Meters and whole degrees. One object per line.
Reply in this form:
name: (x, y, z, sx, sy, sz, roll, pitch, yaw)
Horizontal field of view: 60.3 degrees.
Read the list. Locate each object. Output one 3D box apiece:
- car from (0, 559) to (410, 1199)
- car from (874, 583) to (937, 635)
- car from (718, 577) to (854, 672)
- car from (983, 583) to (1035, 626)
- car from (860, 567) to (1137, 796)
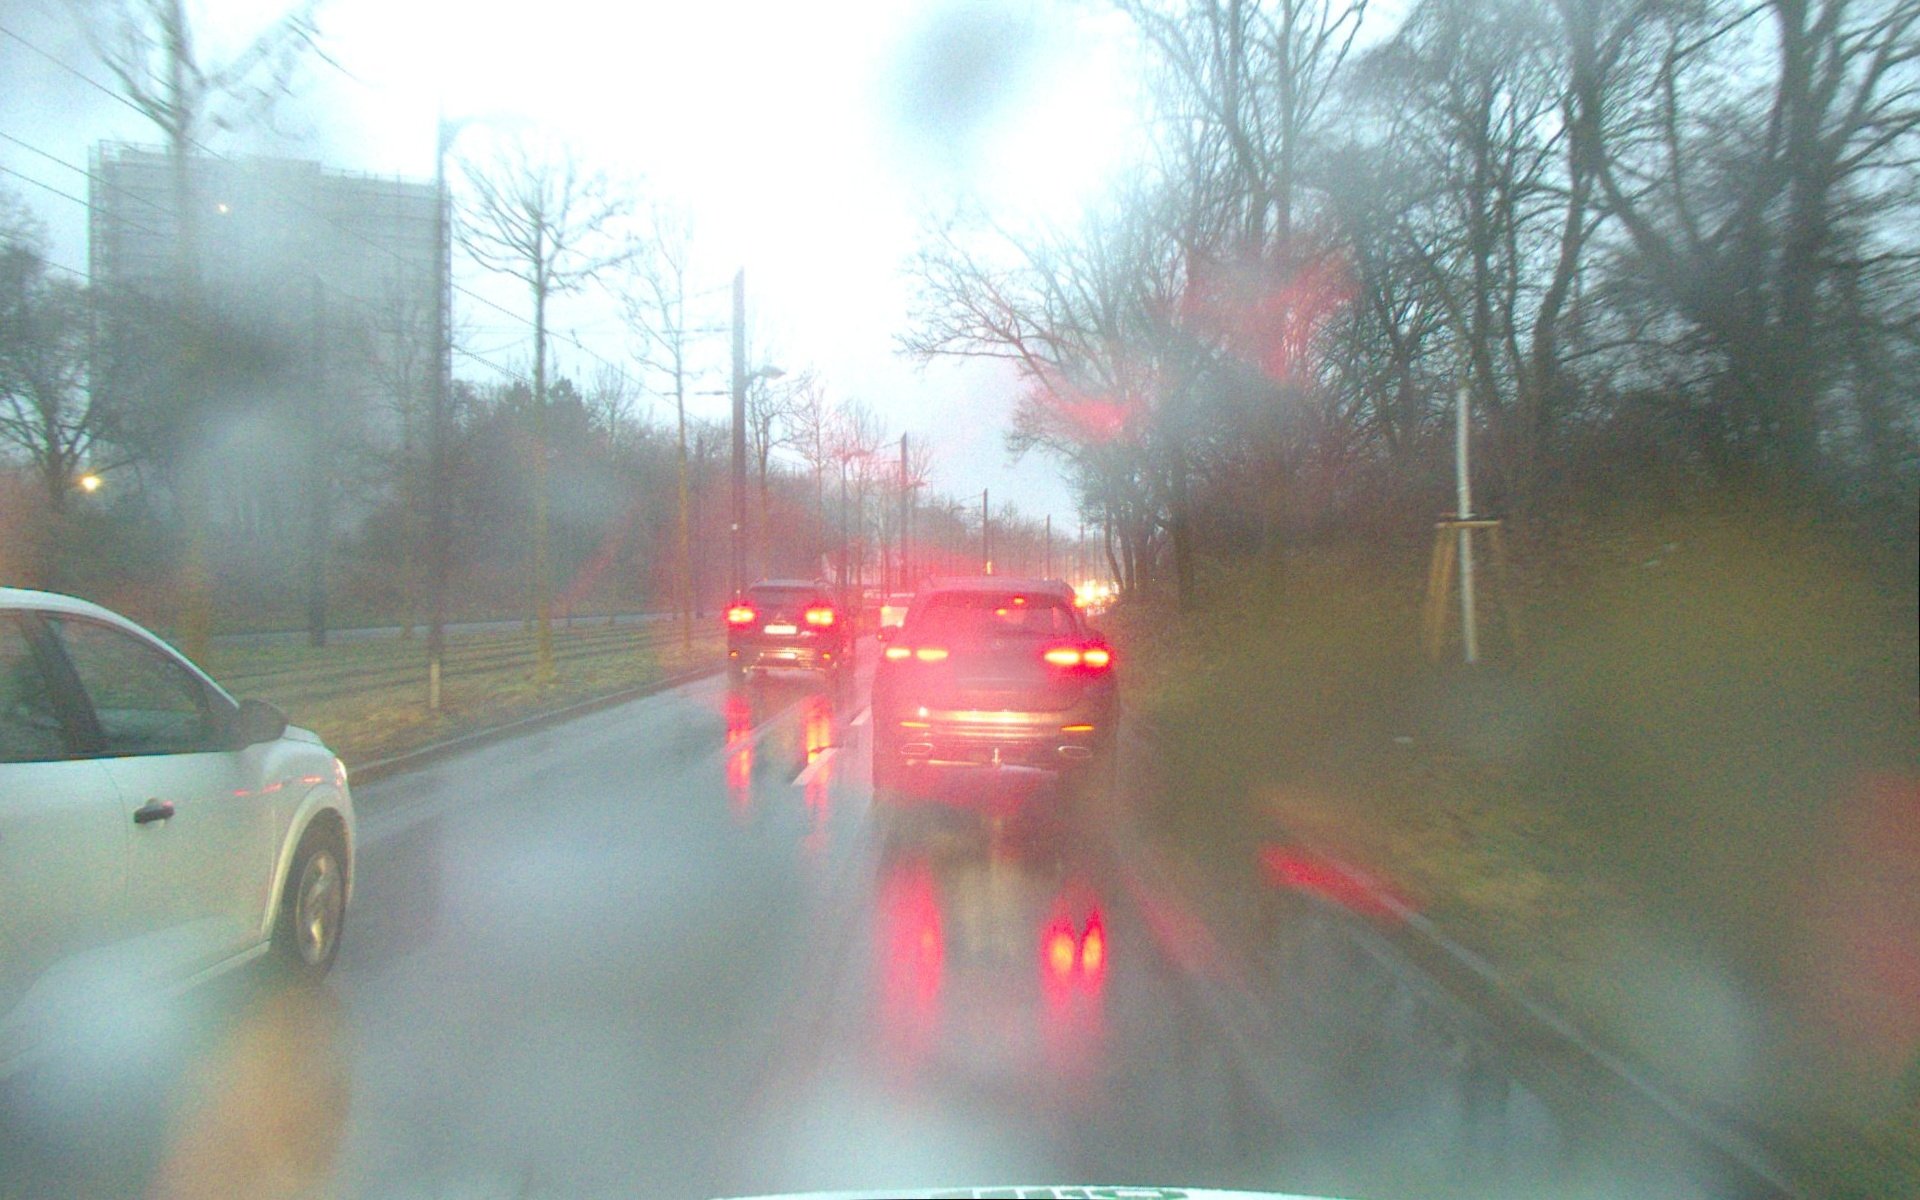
car: (-3.091, 0.672, 4.718, 1.674, 1.551, 4.134, 0, 0, 0)
car: (-1.737, 0.260, 53.657, 1.841, 1.621, 4.001, 0, 1, 1)
car: (-2.869, 0.362, 28.062, 1.841, 1.485, 4.000, 0, 1, 0)
car: (1.897, 0.145, 62.636, 1.672, 1.585, 3.999, 0, 0, 6)
car: (0.235, 0.557, 13.774, 1.957, 1.612, 3.999, 1, 1, -1)
